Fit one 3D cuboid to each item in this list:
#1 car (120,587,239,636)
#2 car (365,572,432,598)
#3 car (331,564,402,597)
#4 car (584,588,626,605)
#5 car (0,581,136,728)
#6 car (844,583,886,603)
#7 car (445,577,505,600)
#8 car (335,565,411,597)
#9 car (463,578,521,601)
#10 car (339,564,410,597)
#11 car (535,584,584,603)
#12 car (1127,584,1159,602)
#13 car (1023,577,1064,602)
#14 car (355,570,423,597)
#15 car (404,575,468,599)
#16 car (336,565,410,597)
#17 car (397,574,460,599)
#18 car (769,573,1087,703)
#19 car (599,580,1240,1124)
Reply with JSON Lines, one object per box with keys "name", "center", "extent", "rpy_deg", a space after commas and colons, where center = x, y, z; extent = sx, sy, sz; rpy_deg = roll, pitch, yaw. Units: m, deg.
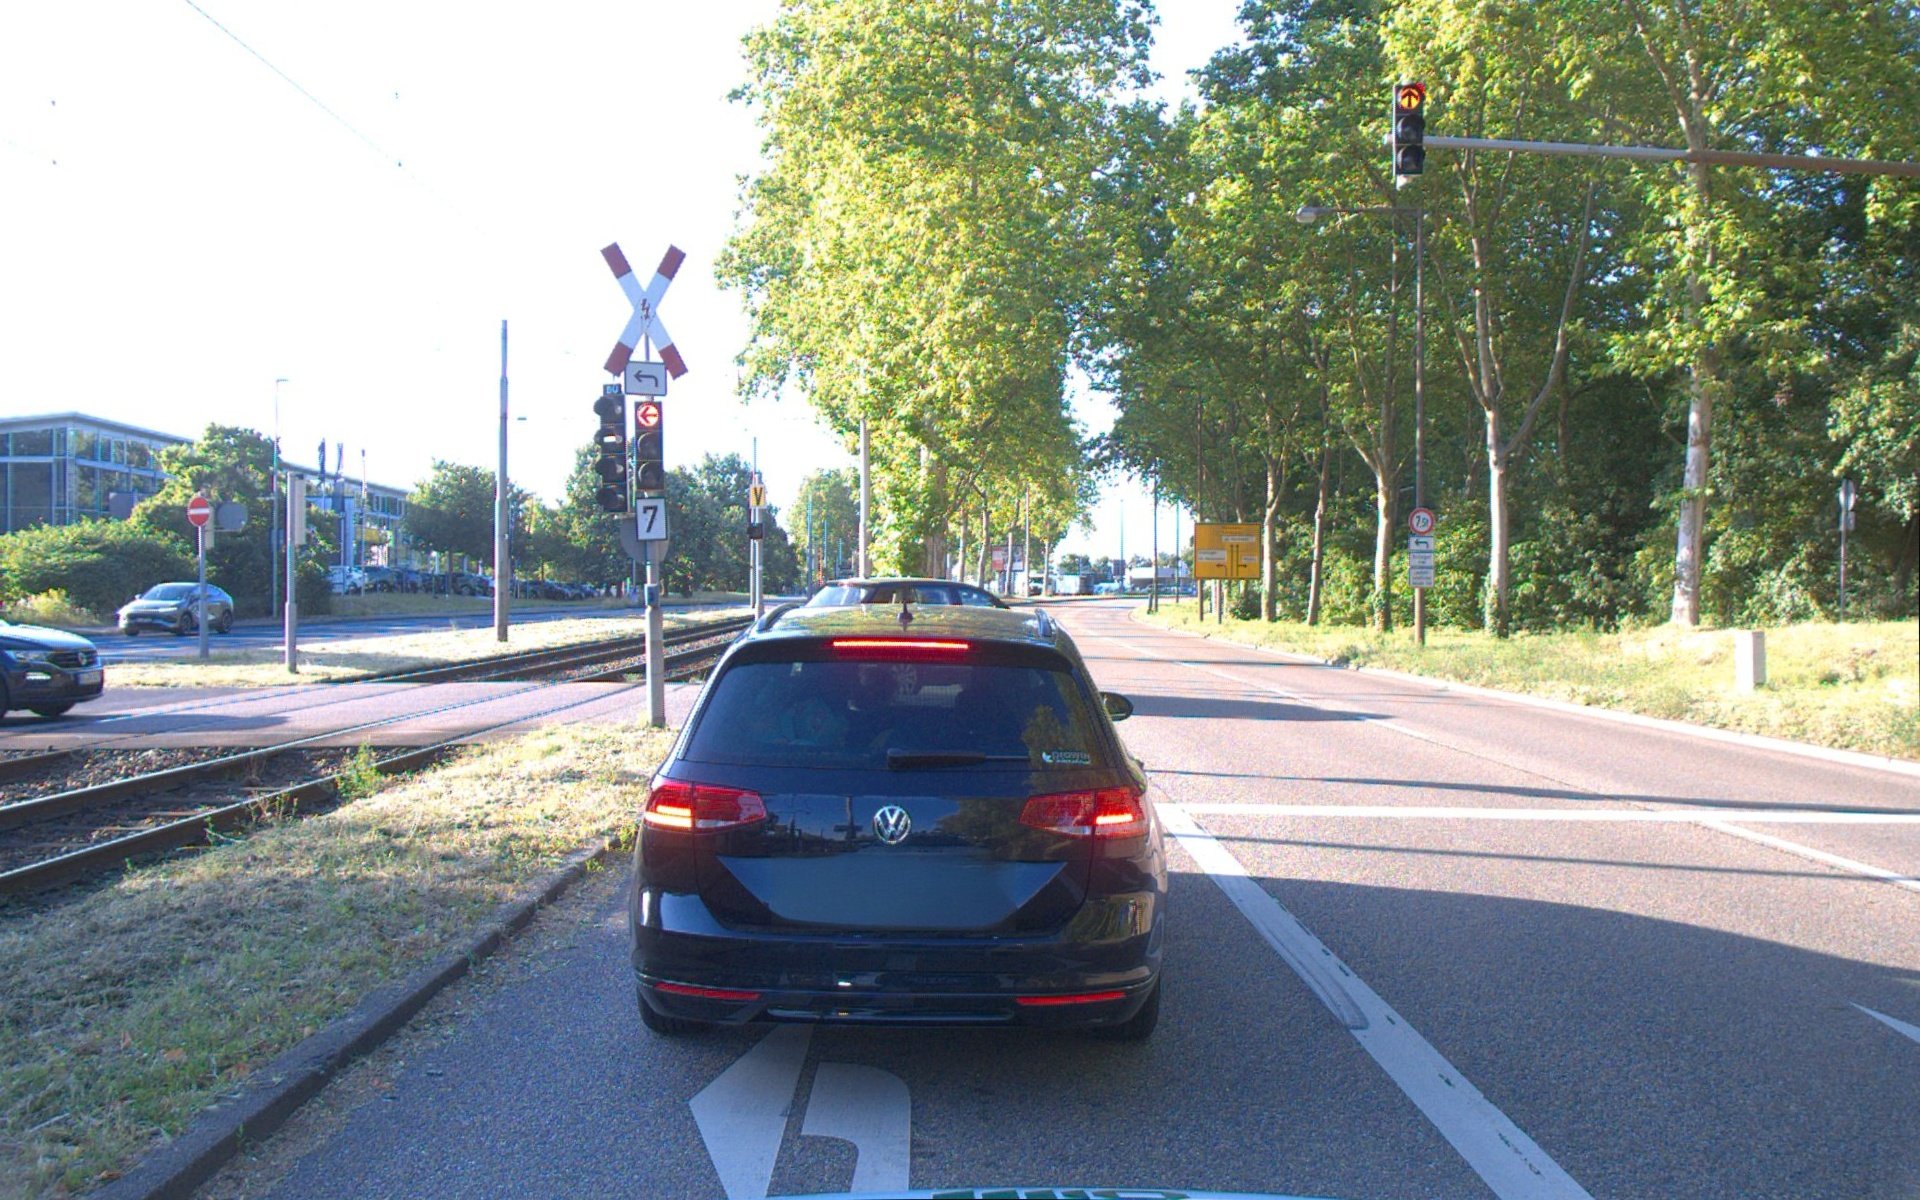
{"name": "car", "center": [-25.199, 0.339, 53.582], "extent": [1.823, 1.507, 4.172], "rpy_deg": [1, 1, 1]}
{"name": "car", "center": [-35.541, -0.962, 104.716], "extent": [3.930, 1.583, 1.732], "rpy_deg": [1, 0, -22]}
{"name": "car", "center": [-35.547, -1.160, 99.022], "extent": [3.930, 1.848, 1.732], "rpy_deg": [1, 0, -22]}
{"name": "car", "center": [-35.958, -0.348, 167.440], "extent": [3.909, 1.583, 1.742], "rpy_deg": [1, 0, -5]}
{"name": "car", "center": [-11.791, 0.587, 18.677], "extent": [4.069, 1.588, 1.712], "rpy_deg": [0, 0, -3]}
{"name": "car", "center": [-7.624, -0.573, 132.787], "extent": [1.824, 1.507, 4.091], "rpy_deg": [1, 1, 22]}
{"name": "car", "center": [-35.567, -0.819, 121.260], "extent": [3.909, 1.649, 1.742], "rpy_deg": [1, 0, -6]}
{"name": "car", "center": [-32.909, -1.054, 92.720], "extent": [3.930, 1.734, 1.732], "rpy_deg": [1, 0, -22]}
{"name": "car", "center": [-35.237, -0.778, 124.476], "extent": [3.909, 1.649, 1.742], "rpy_deg": [1, 0, -6]}
{"name": "car", "center": [-34.440, -1.128, 97.284], "extent": [3.930, 1.848, 1.732], "rpy_deg": [1, 0, -22]}
{"name": "car", "center": [-35.215, -0.571, 145.378], "extent": [3.909, 1.649, 1.742], "rpy_deg": [1, 0, -6]}
{"name": "car", "center": [22.236, -0.850, 200.659], "extent": [2.056, 2.101, 4.870], "rpy_deg": [1, 1, 30]}
{"name": "car", "center": [8.644, -1.070, 171.458], "extent": [2.054, 2.504, 5.847], "rpy_deg": [1, 1, 26]}
{"name": "car", "center": [-35.200, -0.989, 101.937], "extent": [3.930, 1.583, 1.732], "rpy_deg": [1, 0, -22]}
{"name": "car", "center": [-36.036, -0.875, 113.805], "extent": [3.913, 1.583, 1.740], "rpy_deg": [1, 0, -9]}
{"name": "car", "center": [-33.692, -1.064, 94.959], "extent": [3.930, 1.734, 1.732], "rpy_deg": [1, 0, -22]}
{"name": "car", "center": [-35.705, -0.896, 111.110], "extent": [3.930, 1.583, 1.732], "rpy_deg": [1, 0, -22]}
{"name": "car", "center": [-0.384, 0.461, 23.330], "extent": [4.329, 1.663, 1.851], "rpy_deg": [-1, 1, -40]}
{"name": "car", "center": [-0.144, 0.700, 6.393], "extent": [1.758, 1.490, 3.582], "rpy_deg": [1, 0, -1]}
